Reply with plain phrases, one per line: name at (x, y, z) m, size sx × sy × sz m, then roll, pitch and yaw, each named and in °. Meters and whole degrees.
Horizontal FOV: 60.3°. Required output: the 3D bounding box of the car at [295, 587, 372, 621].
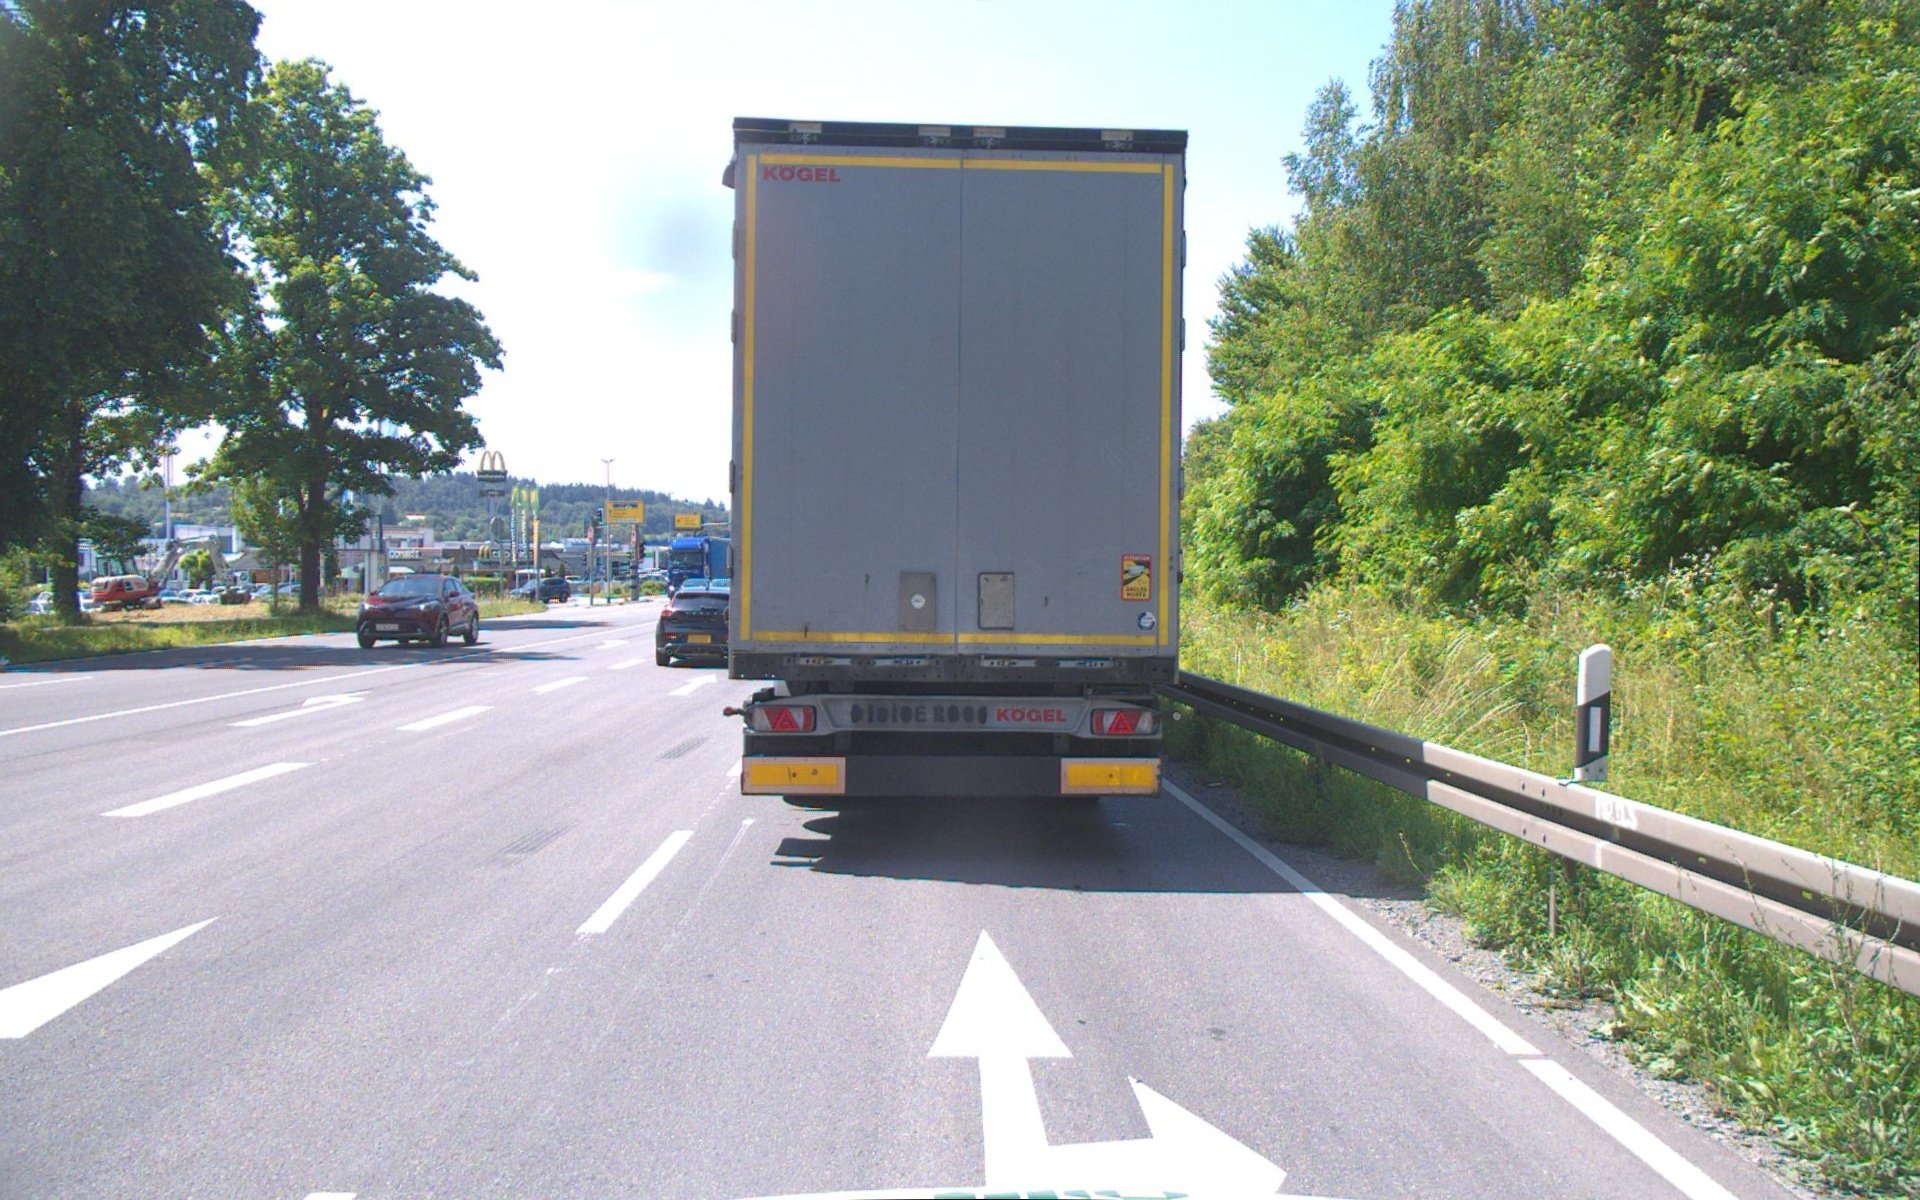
car at (-31.882, 0.184, 84.142) m, size 3.920 × 1.646 × 1.833 m, roll 1°, pitch 0°, yaw 36°

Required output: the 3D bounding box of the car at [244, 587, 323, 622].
car at (-33.488, 0.202, 81.895) m, size 3.920 × 1.646 × 1.833 m, roll 1°, pitch 0°, yaw 36°

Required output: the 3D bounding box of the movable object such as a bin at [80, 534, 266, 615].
movable object such as a bin at (-34.369, -1.115, 72.449) m, size 2.994 × 3.356 × 6.761 m, roll 1°, pitch 1°, yaw 38°

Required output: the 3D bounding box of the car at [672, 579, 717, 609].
car at (-13.137, -0.262, 81.944) m, size 1.731 × 1.410 × 3.998 m, roll 1°, pitch 0°, yaw -3°

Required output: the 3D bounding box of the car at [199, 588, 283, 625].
car at (-34.780, 0.291, 79.988) m, size 3.920 × 1.680 × 1.993 m, roll 1°, pitch 0°, yaw 36°

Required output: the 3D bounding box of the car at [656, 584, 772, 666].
car at (-4.549, 0.441, 31.104) m, size 1.652 × 1.423 × 4.401 m, roll 0°, pitch 0°, yaw -2°

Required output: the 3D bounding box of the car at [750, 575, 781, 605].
car at (-13.738, -0.715, 116.984) m, size 1.737 × 2.049 × 3.999 m, roll 1°, pitch 0°, yaw -1°

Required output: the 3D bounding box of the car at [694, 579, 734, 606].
car at (-13.656, -0.403, 92.048) m, size 1.731 × 1.410 × 3.998 m, roll 1°, pitch 0°, yaw -3°

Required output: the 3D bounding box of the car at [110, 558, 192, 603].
car at (-37.668, -0.903, 76.976) m, size 3.925 × 2.049 × 1.990 m, roll 1°, pitch 0°, yaw 39°

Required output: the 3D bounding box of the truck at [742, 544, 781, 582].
truck at (-18.635, -3.414, 155.795) m, size 2.789 × 3.410 × 11.476 m, roll 0°, pitch 0°, yaw -3°

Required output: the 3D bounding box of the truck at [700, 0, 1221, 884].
truck at (-0.108, -0.825, 17.227) m, size 2.700 × 4.720 × 16.651 m, roll 1°, pitch 0°, yaw -1°

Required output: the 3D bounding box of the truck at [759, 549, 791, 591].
truck at (-20.683, -3.174, 184.102) m, size 3.087 × 4.425 × 17.510 m, roll 0°, pitch 0°, yaw -8°

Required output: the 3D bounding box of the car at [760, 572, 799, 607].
car at (-10.882, -0.640, 99.948) m, size 1.953 × 2.049 × 3.999 m, roll 1°, pitch 0°, yaw -1°

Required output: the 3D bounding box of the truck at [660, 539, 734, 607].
truck at (-17.654, -1.767, 112.086) m, size 2.908 × 4.249 × 16.569 m, roll 0°, pitch 0°, yaw -2°

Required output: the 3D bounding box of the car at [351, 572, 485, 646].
car at (-11.920, 0.183, 36.610) m, size 1.865 × 1.535 × 3.763 m, roll 1°, pitch 0°, yaw -3°
